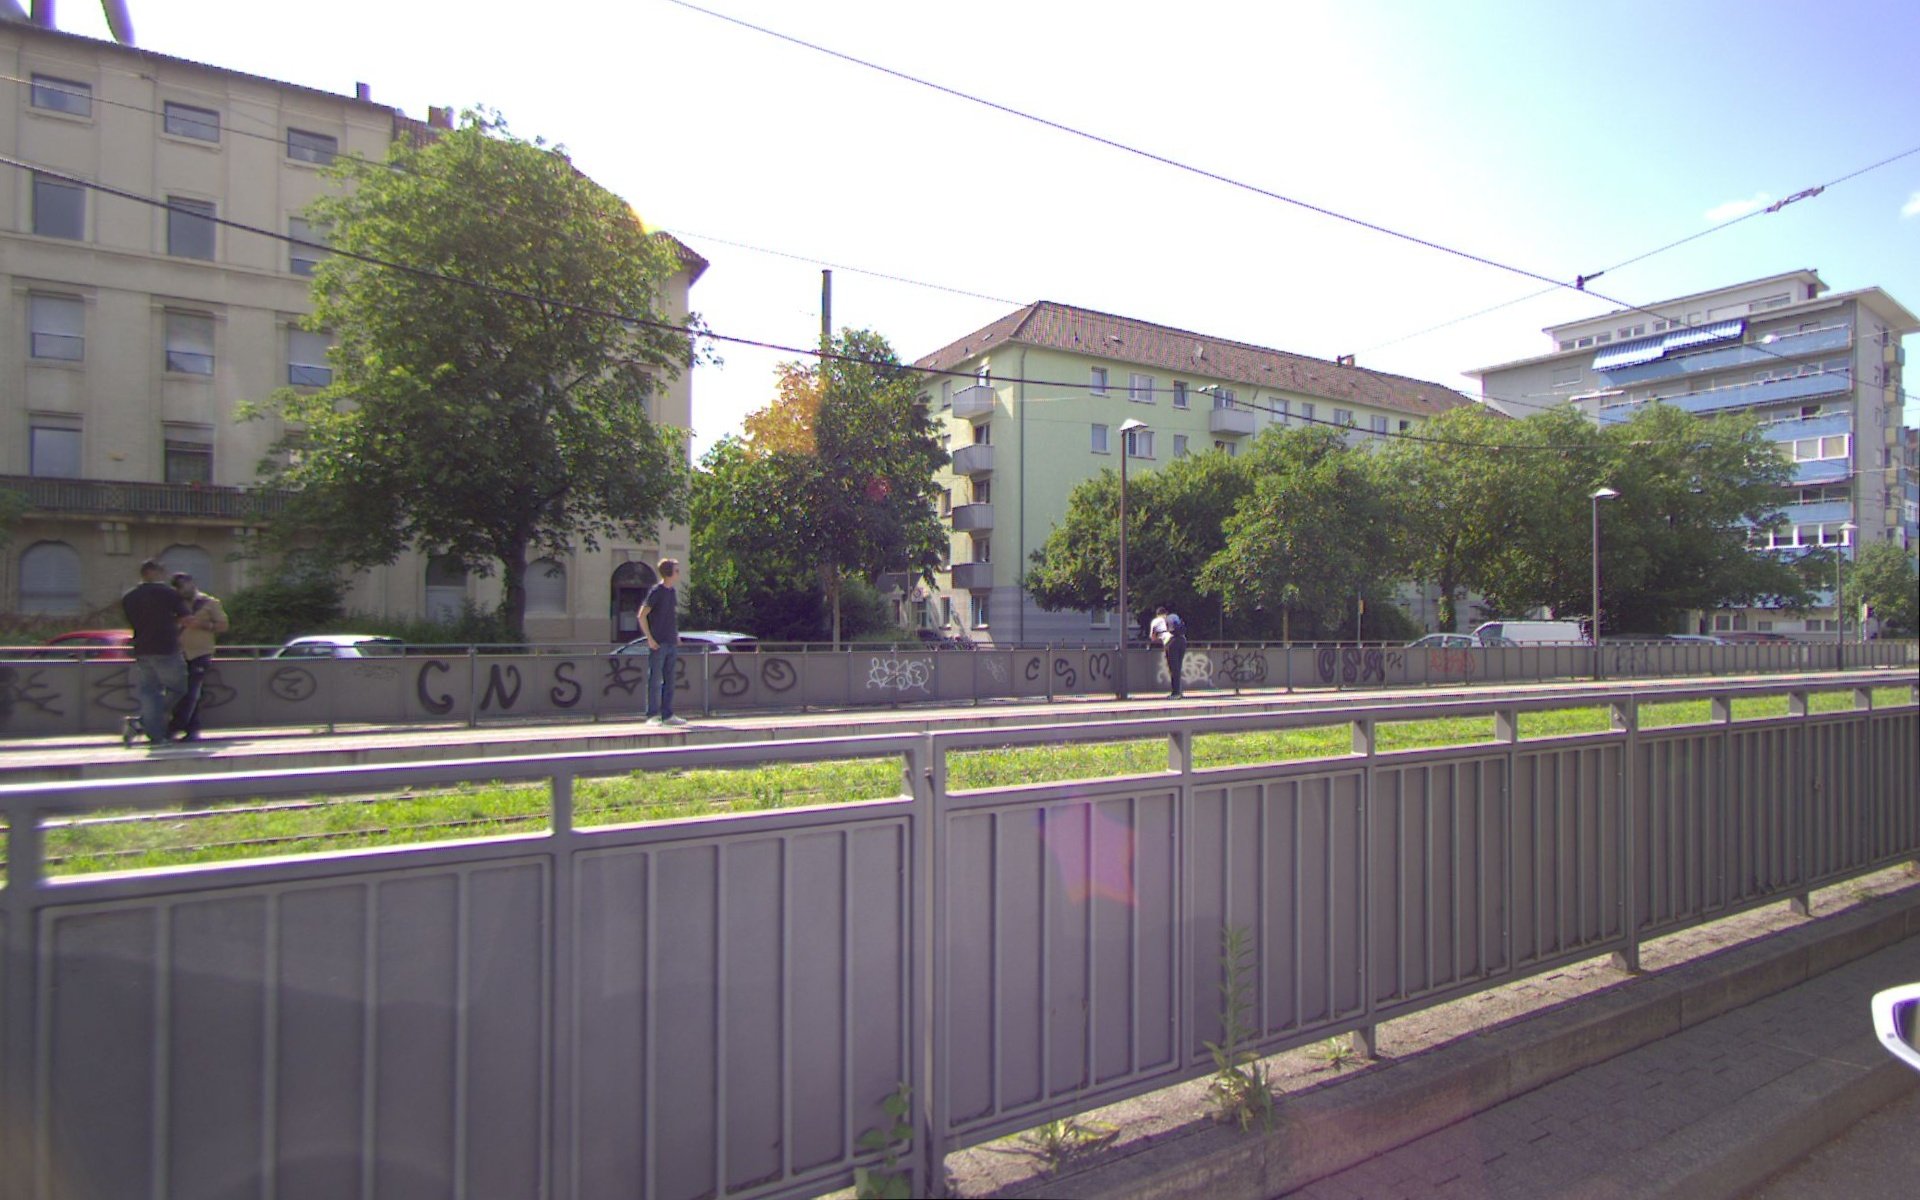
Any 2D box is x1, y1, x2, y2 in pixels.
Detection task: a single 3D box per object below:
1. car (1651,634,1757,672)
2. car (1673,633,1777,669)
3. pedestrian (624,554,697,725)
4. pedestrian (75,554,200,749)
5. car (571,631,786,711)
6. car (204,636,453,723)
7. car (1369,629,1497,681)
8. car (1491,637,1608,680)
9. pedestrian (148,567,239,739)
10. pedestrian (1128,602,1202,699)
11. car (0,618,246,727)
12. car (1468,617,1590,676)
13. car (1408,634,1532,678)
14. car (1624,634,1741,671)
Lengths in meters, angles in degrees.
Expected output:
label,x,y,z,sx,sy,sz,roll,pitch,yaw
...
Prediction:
label,x,y,z,sx,sy,sz,roll,pitch,yaw
car,33.201,2.354,44.934,3.601,1.600,1.646,-1,-2,29
car,35.220,2.315,46.346,3.601,1.600,1.646,-1,-2,29
pedestrian,-3.486,0.490,11.670,0.631,1.915,0.748,3,-7,-28
pedestrian,-7.764,0.478,9.503,0.612,1.777,0.609,1,-2,10
car,-6.026,1.484,21.593,4.071,1.585,1.927,-1,-2,19
car,-11.518,1.387,18.365,3.944,1.410,1.816,0,-1,20
car,16.301,1.862,34.838,3.923,1.662,1.826,-1,0,23
car,23.070,2.255,39.473,3.879,1.600,1.716,-1,-2,28
pedestrian,-7.880,0.538,10.353,0.618,1.696,0.604,2,-2,-30
pedestrian,3.506,0.859,17.233,0.790,1.599,0.983,2,-2,-33
car,-14.346,1.161,16.895,4.055,1.661,1.835,0,-2,21
car,21.219,1.714,37.612,3.880,2.097,2.047,-1,-2,29
car,18.448,2.010,36.449,3.926,1.505,1.608,-1,-2,27
car,31.115,2.237,43.400,3.957,1.534,1.606,-1,-2,30
